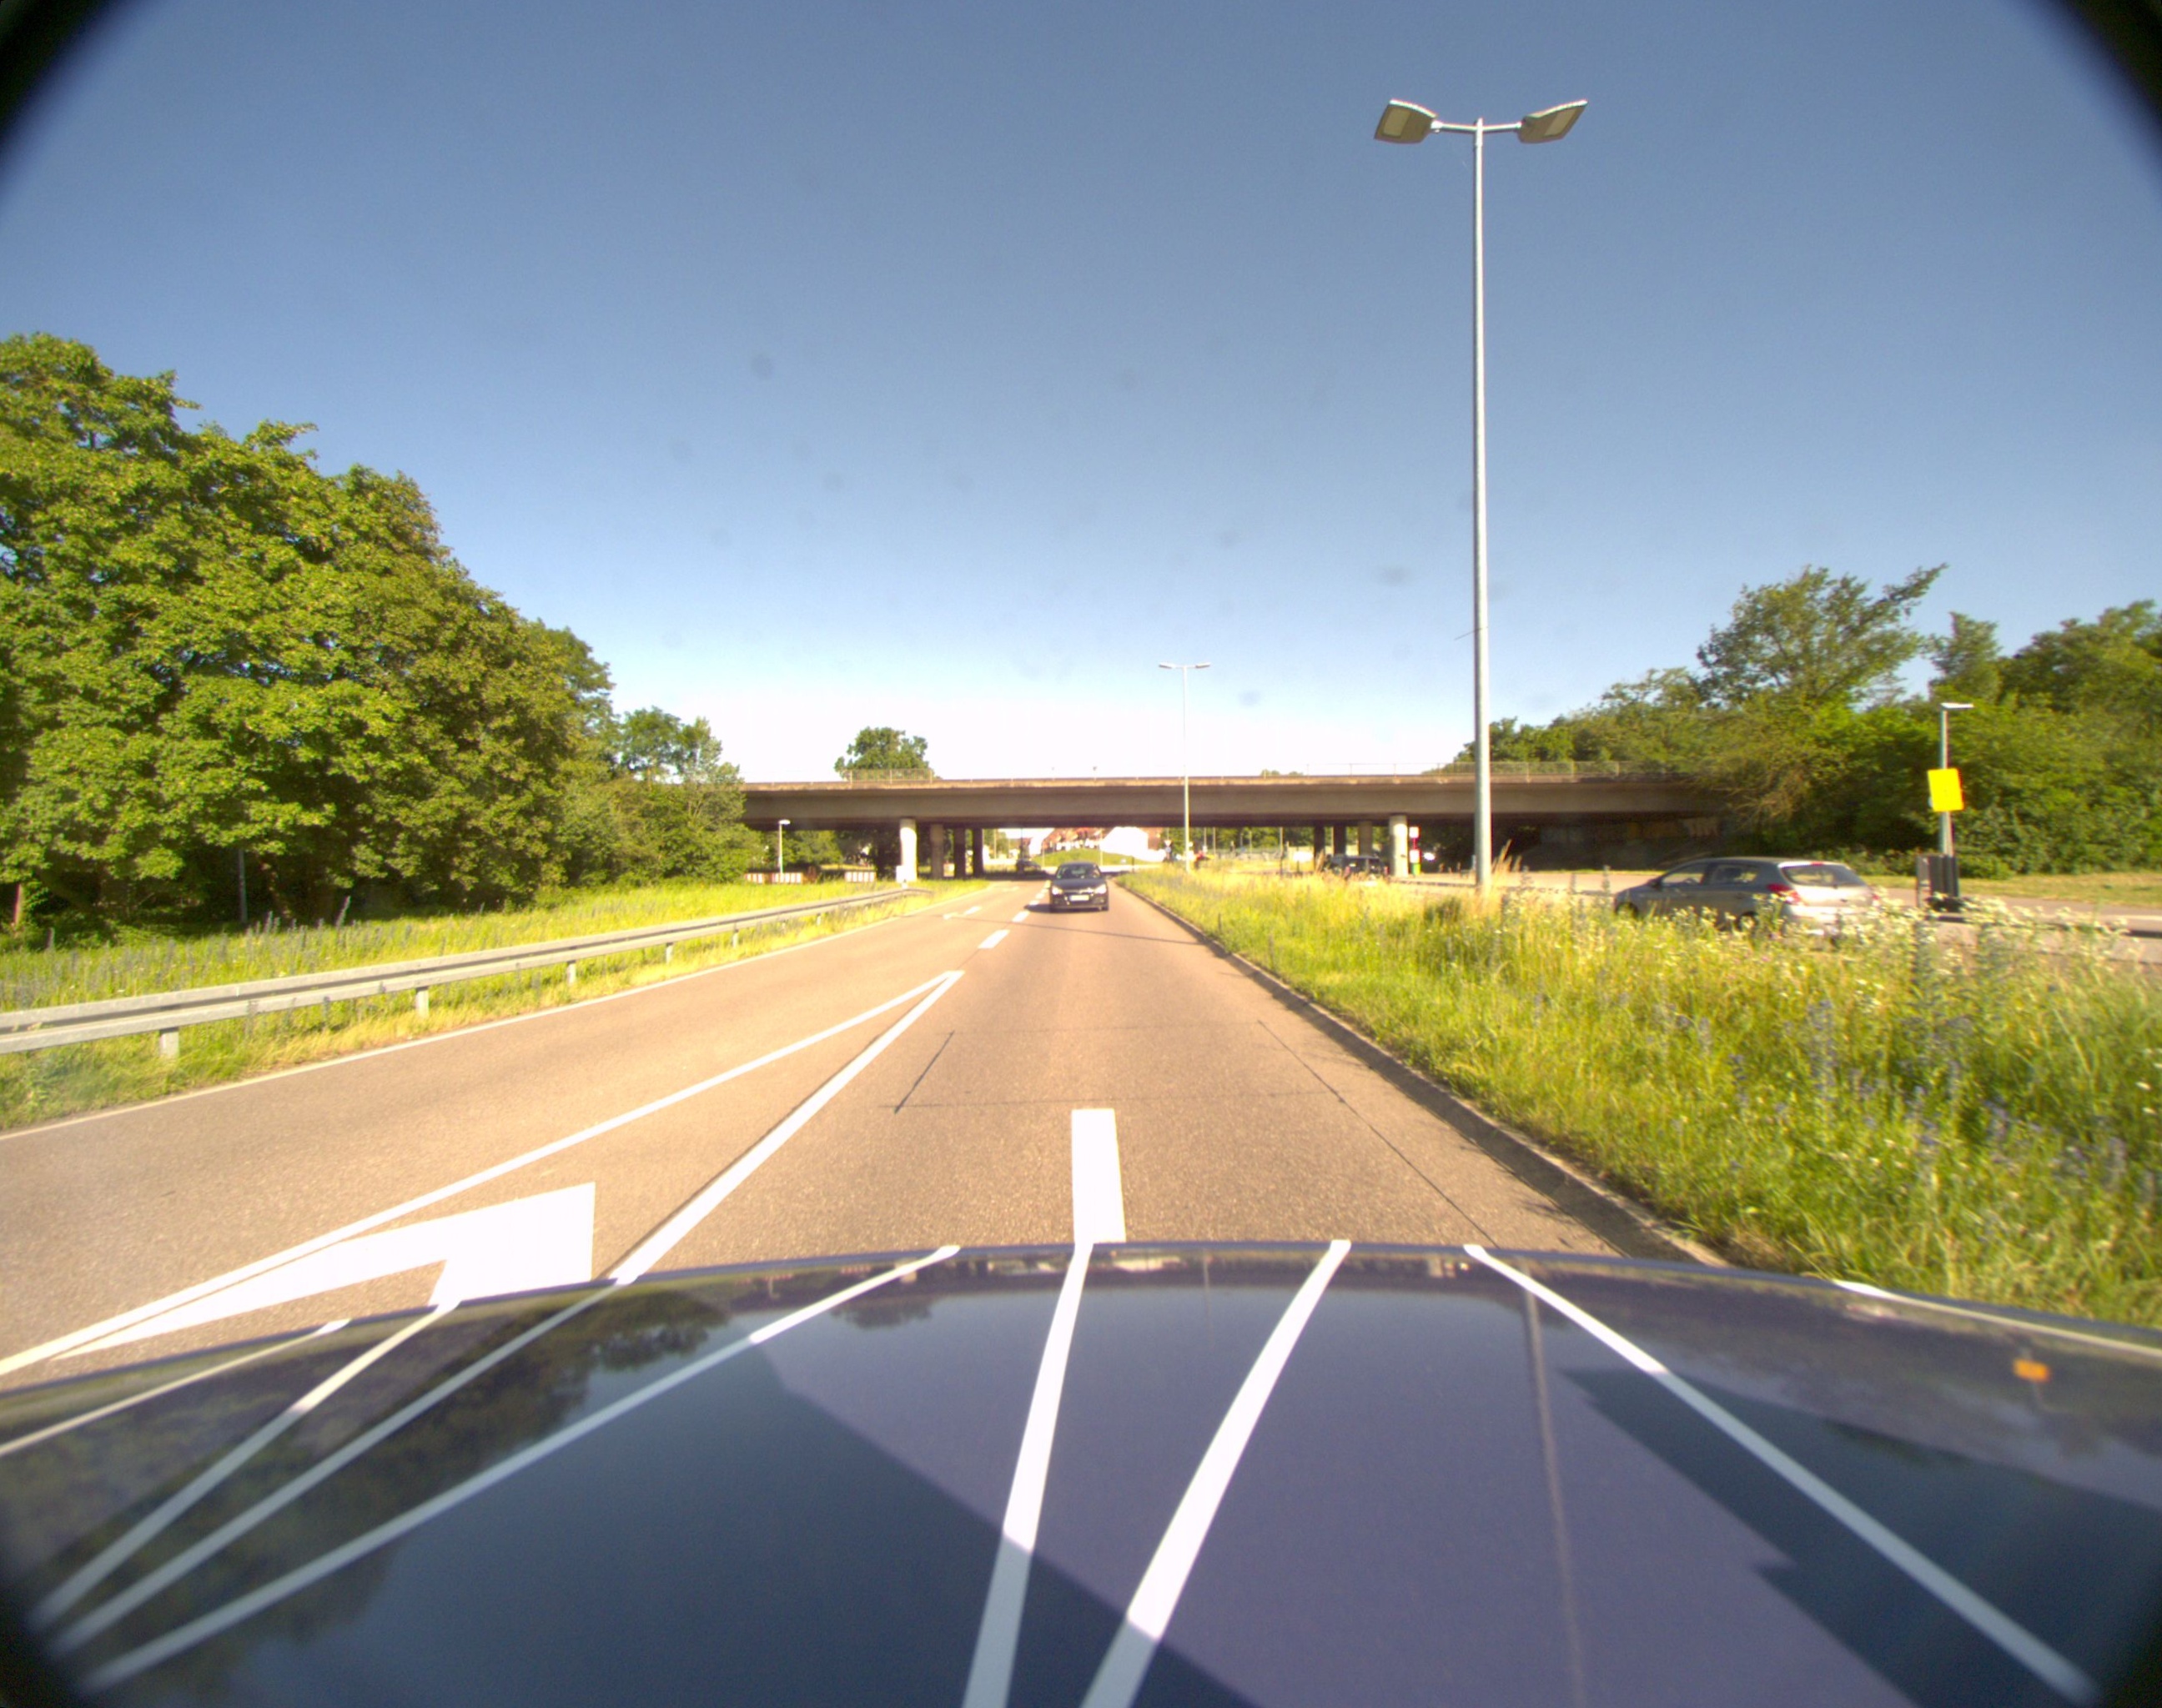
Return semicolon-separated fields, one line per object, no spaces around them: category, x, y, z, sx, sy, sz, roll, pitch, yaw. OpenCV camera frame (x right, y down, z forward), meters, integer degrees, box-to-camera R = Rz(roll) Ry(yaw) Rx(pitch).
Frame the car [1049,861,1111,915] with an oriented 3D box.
car;0.025;0.969;23.209;1.706;1.446;3.959;-2;0;2

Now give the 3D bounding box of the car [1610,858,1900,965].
car;11.214;0.854;13.012;1.637;1.521;3.591;-1;0;-4

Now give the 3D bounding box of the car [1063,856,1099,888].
car;0.037;0.919;40.887;1.827;1.528;4.042;-1;0;1

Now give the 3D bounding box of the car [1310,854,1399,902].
car;9.434;0.776;26.479;1.637;1.521;3.592;-1;0;-3

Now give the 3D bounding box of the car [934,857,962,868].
car;-19.617;1.288;112.182;4.030;1.528;1.832;-1;0;41
